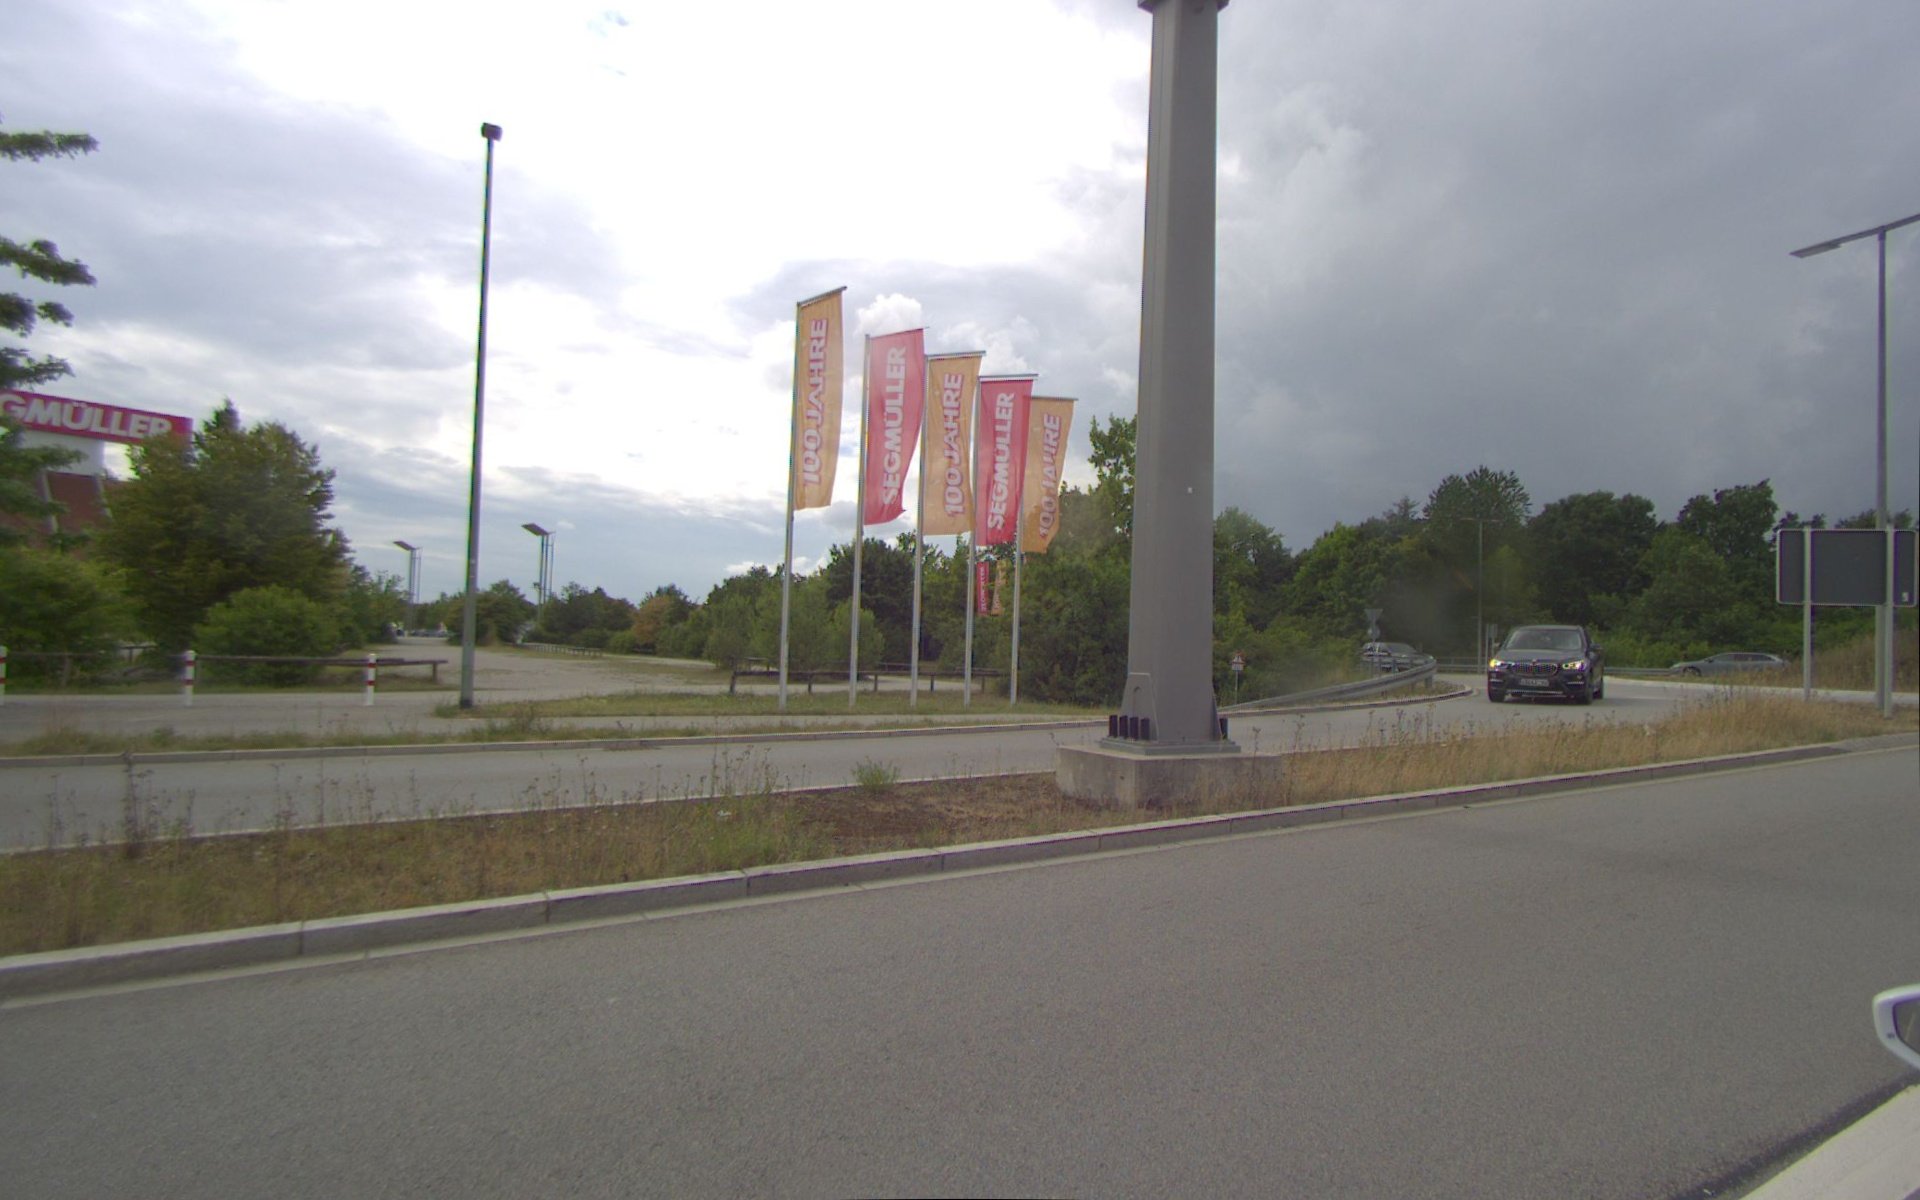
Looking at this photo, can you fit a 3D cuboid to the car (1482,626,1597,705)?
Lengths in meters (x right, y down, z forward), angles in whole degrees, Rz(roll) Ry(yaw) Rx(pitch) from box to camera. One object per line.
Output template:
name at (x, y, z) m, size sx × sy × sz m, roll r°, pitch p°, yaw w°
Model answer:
car at (12.371, 1.355, 21.319) m, size 1.861 × 1.486 × 4.270 m, roll -1°, pitch -3°, yaw 33°

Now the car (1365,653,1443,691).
car at (22.651, 3.638, 51.500) m, size 2.063 × 1.814 × 5.055 m, roll 0°, pitch -3°, yaw 4°

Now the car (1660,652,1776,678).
car at (37.552, 3.216, 49.909) m, size 4.399 × 1.190 × 1.630 m, roll -1°, pitch -3°, yaw 32°
